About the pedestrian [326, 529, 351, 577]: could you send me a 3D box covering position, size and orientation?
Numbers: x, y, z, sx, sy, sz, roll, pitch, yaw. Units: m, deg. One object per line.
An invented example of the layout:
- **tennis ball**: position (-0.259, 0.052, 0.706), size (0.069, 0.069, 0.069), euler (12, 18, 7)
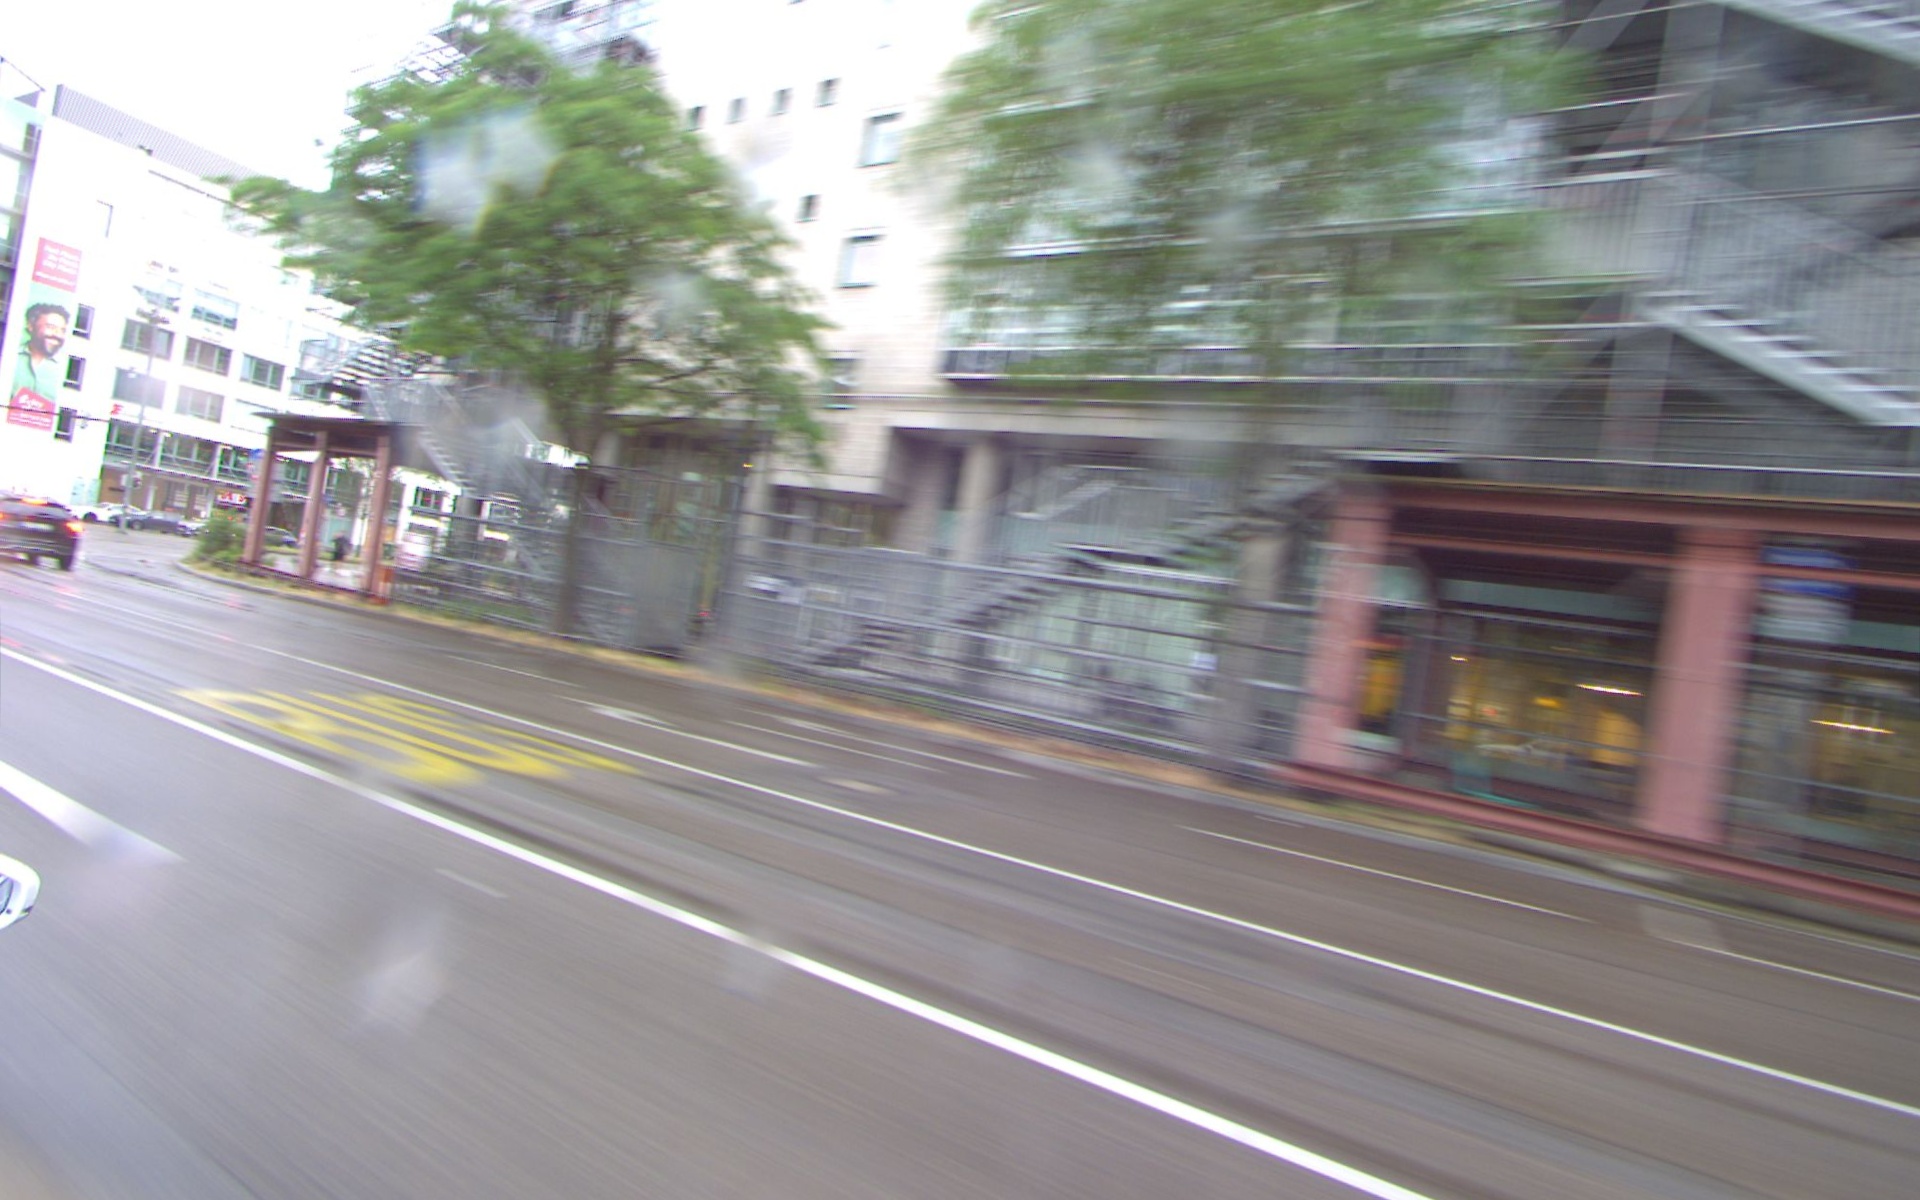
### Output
- **pedestrian**: position (-25.989, -1.970, 42.056), size (0.675, 1.874, 1.047), euler (8, 0, -33)

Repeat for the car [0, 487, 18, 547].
- **car**: position (-27.379, -2.457, 27.839), size (1.699, 1.547, 4.373), euler (9, -2, -43)

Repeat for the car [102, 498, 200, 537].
- **car**: position (-52.316, -5.314, 65.153), size (1.963, 1.616, 4.468), euler (8, -2, 20)

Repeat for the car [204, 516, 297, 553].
- **car**: position (-43.871, -4.017, 62.315), size (1.691, 1.480, 4.468), euler (8, -2, 19)

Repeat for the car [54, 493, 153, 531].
- **car**: position (-55.850, -5.687, 65.710), size (1.962, 1.616, 4.469), euler (8, -2, 17)

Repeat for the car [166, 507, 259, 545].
- **car**: position (-48.986, -4.822, 66.062), size (1.962, 1.616, 4.469), euler (8, -2, 17)

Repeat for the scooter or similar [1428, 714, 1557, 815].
- **scooter or similar**: position (7.868, 2.398, 14.882), size (1.522, 1.175, 0.632), euler (7, -1, 32)

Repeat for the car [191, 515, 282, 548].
- **car**: position (-45.974, -4.326, 64.031), size (1.690, 1.364, 4.469), euler (8, -2, 17)

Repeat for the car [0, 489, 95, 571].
- **car**: position (-21.912, -1.742, 23.253), size (4.080, 1.558, 1.781), euler (7, -1, 34)
